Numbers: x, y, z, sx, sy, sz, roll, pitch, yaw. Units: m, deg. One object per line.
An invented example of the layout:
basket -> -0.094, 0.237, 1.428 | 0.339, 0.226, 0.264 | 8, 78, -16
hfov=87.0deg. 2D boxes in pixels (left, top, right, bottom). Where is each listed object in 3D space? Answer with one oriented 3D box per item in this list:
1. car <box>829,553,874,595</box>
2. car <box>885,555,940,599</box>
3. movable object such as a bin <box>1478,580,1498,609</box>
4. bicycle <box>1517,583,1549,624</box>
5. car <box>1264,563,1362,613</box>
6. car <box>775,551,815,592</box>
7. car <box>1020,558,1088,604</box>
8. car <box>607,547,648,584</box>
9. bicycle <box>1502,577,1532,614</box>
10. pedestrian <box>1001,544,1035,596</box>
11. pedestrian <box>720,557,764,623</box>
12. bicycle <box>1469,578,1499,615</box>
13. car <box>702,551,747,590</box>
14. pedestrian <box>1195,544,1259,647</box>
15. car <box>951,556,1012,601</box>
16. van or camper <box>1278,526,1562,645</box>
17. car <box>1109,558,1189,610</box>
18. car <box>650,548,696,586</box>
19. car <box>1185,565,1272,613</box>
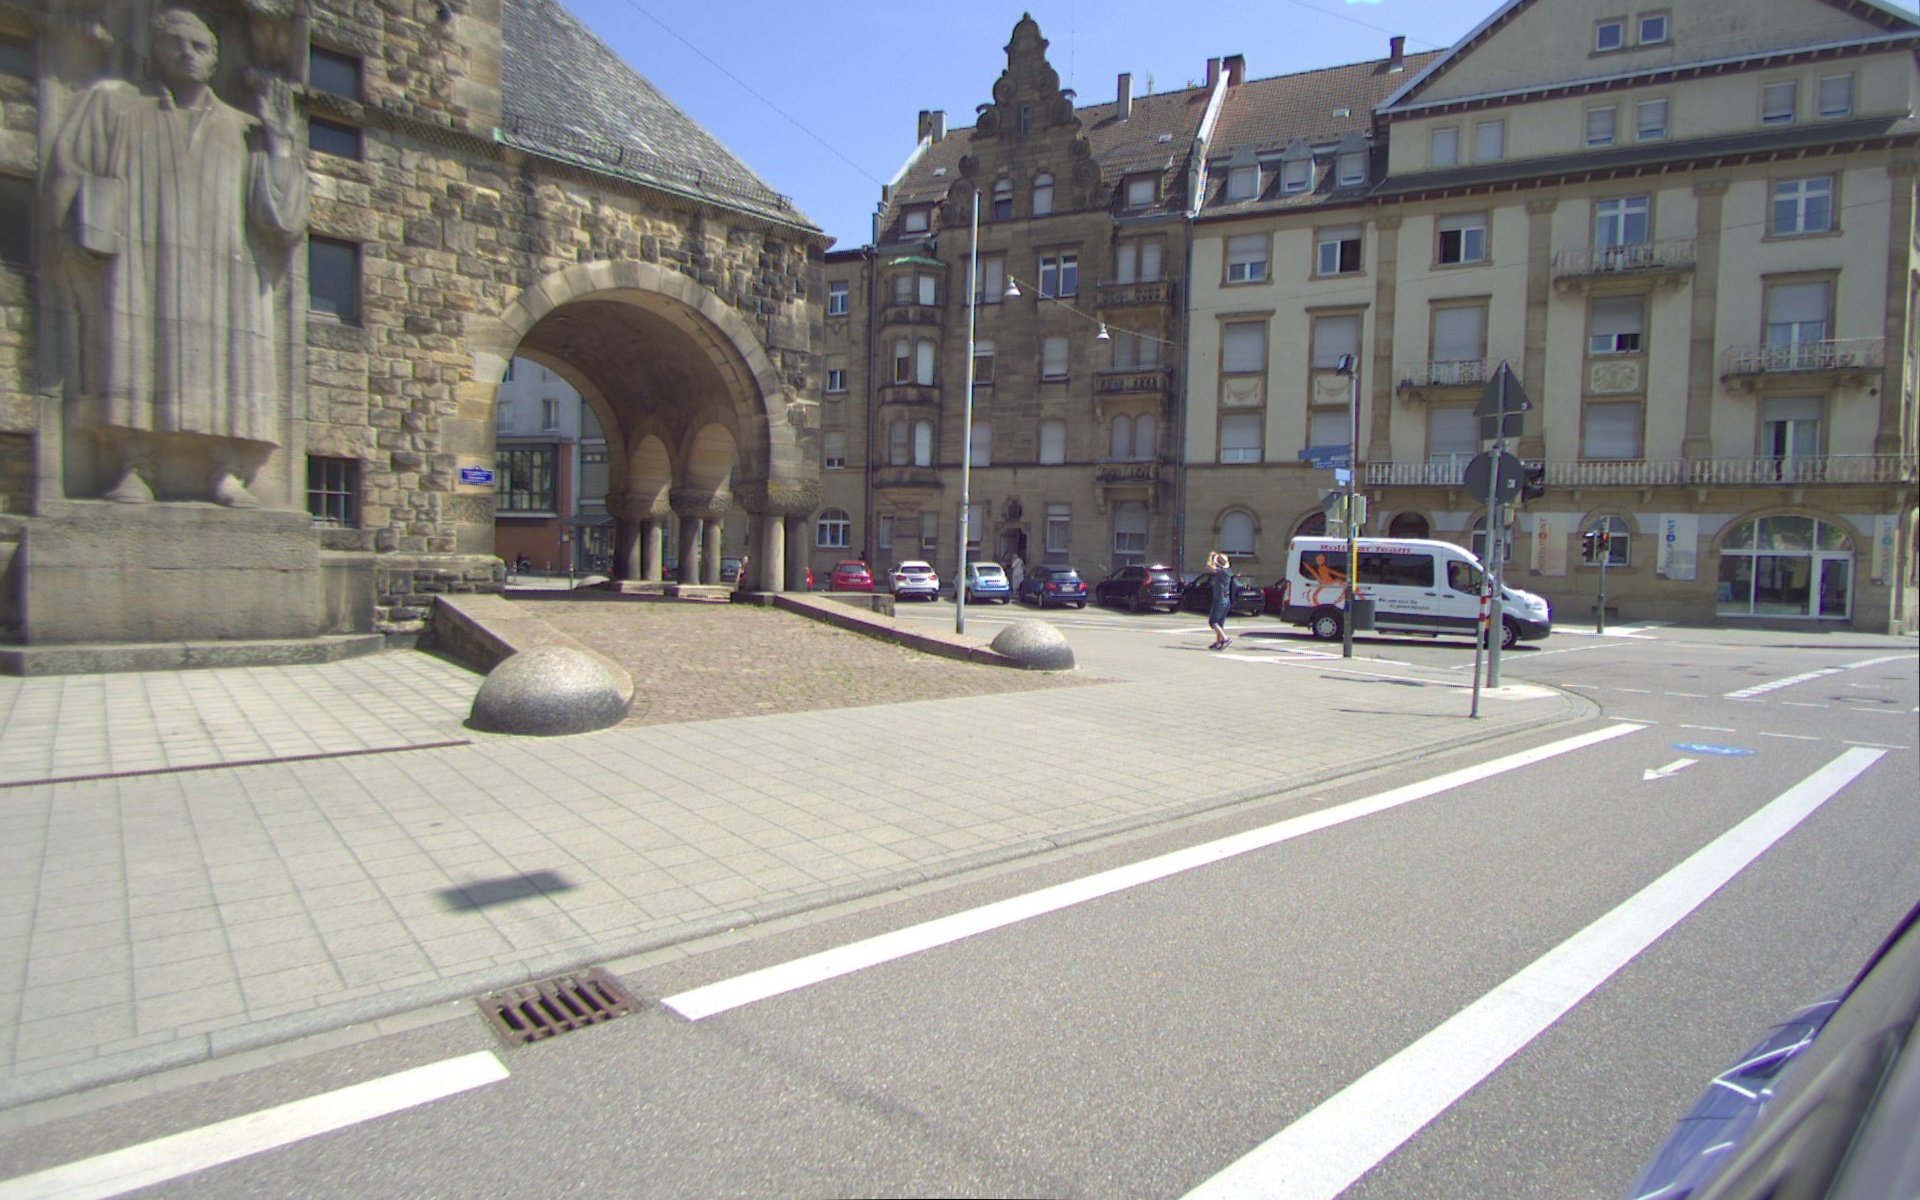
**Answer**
car -> -4.565, -1.125, 42.229 | 1.583, 1.593, 3.235 | -1, 4, -10
car -> -1.949, -0.979, 40.855 | 1.583, 1.593, 3.235 | -1, 4, -14
movable object such as a bin -> 18.848, -0.197, 36.128 | 0.586, 1.007, 0.576 | 2, 2, 33
bicycle -> 17.975, 0.095, 31.728 | 0.562, 1.165, 2.032 | 2, 3, 38
car -> 11.961, -0.462, 34.502 | 1.583, 1.496, 3.235 | -1, 4, -15
car -> -7.107, -1.266, 43.453 | 1.583, 1.593, 3.235 | -1, 4, -10
car -> 3.532, -0.766, 38.535 | 1.583, 1.593, 3.235 | -1, 4, -15
car -> -15.383, -1.638, 46.770 | 1.583, 1.593, 3.235 | -2, 4, -21
bicycle -> 18.369, -0.162, 33.340 | 0.562, 1.165, 1.781 | 2, 3, 38
pedestrian -> 2.424, -1.254, 42.473 | 0.850, 2.139, 1.102 | 1, 2, -34
pedestrian -> -5.330, -0.258, 24.716 | 0.789, 1.578, 0.710 | 2, 2, 43
bicycle -> 17.416, -0.126, 33.624 | 0.562, 1.165, 1.781 | 2, 3, 38
car -> -10.519, -1.337, 45.097 | 1.583, 1.593, 3.235 | -2, 4, -19
pedestrian -> 4.926, -0.094, 18.698 | 0.817, 1.845, 0.745 | 0, 2, -34
car -> 0.819, -0.891, 40.049 | 1.583, 1.593, 3.235 | -1, 4, -15
van or camper -> 10.831, -0.428, 24.134 | 5.849, 2.491, 2.053 | 3, 2, 28
car -> 6.810, -0.624, 36.732 | 1.583, 1.685, 3.235 | -1, 4, -15
car -> -13.024, -1.544, 45.900 | 1.465, 1.593, 3.234 | -2, 4, -25
car -> 9.411, -0.432, 35.698 | 1.583, 1.496, 3.235 | -1, 4, -15
